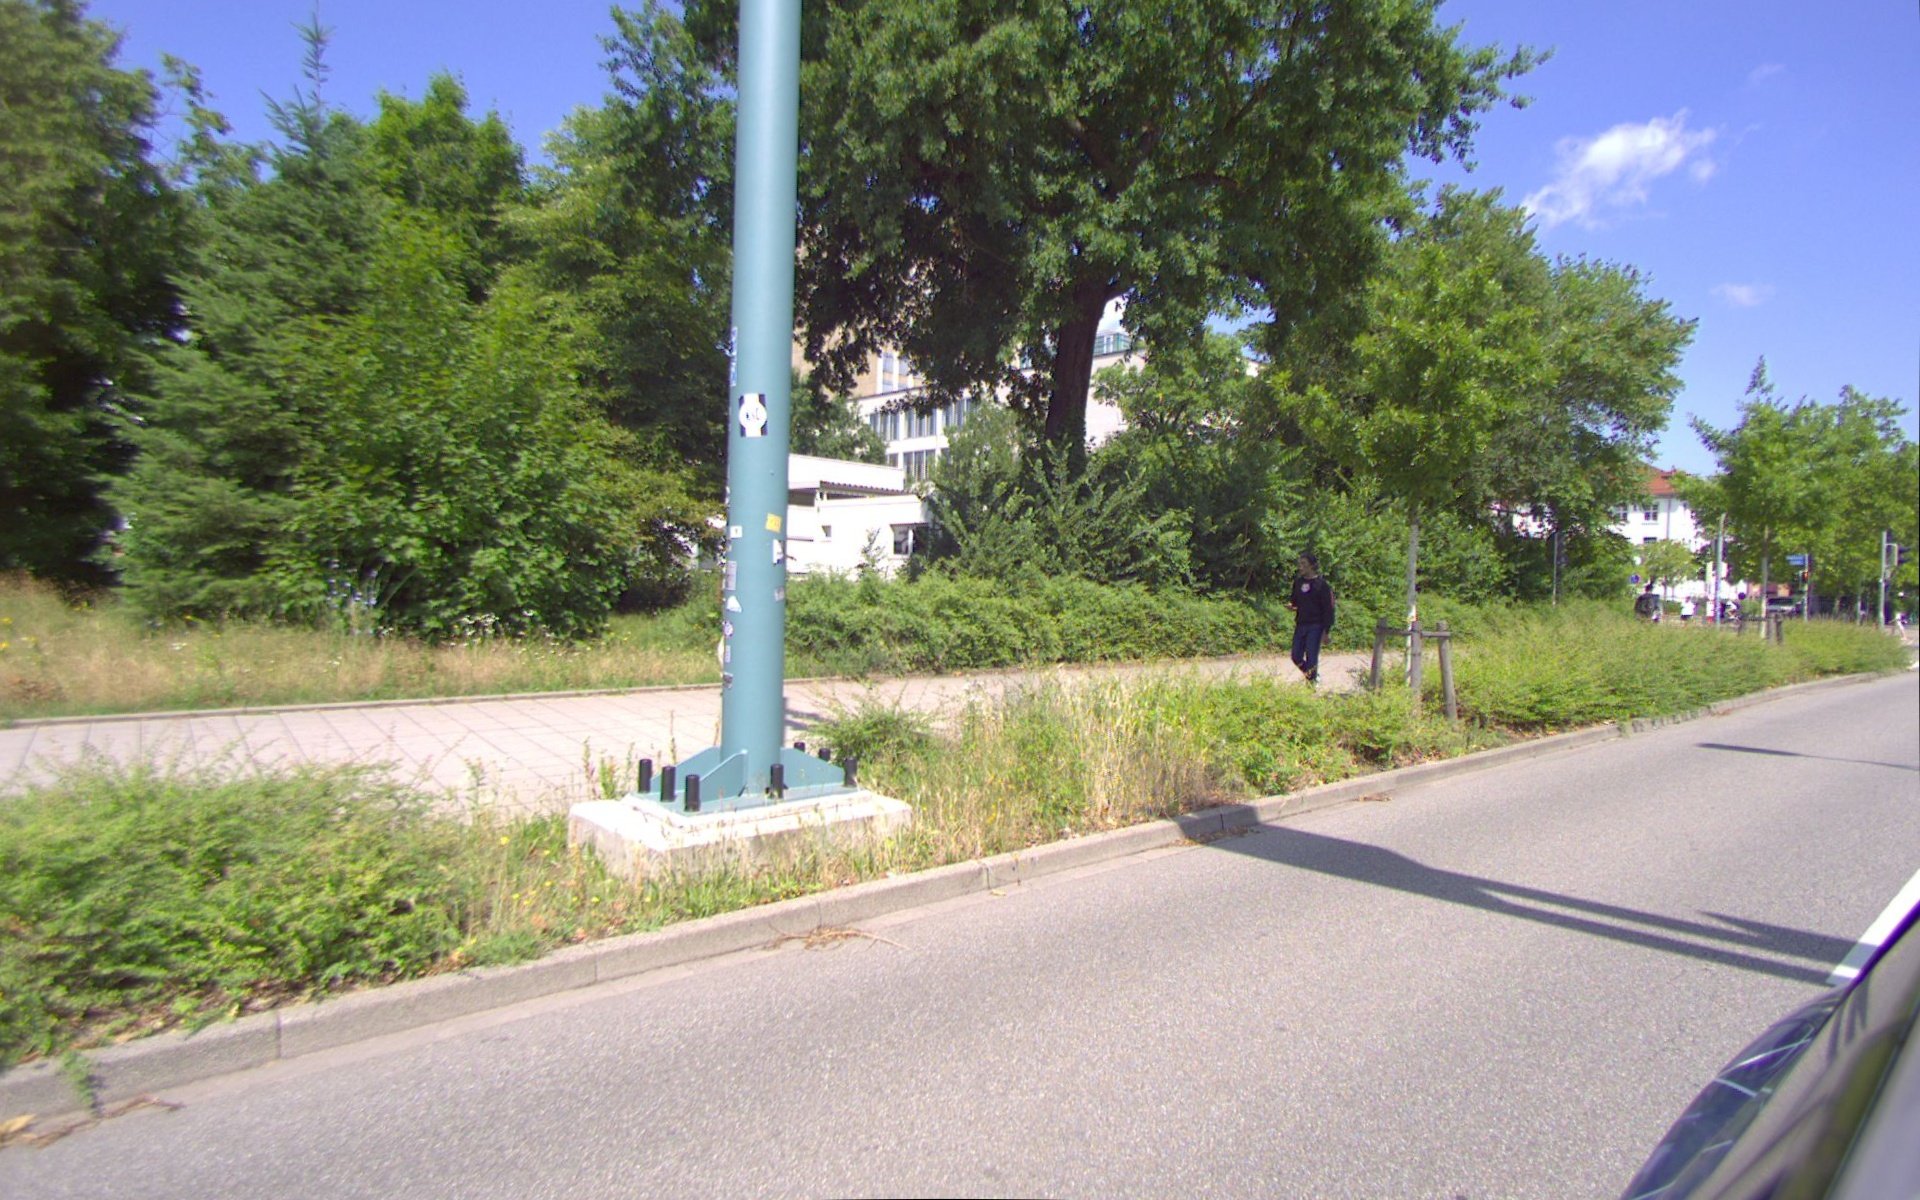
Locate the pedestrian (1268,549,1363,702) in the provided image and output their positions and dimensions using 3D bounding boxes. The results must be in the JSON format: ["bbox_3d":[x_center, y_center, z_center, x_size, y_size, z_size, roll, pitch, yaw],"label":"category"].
[{"bbox_3d":[4.245,0.282,12.089,0.822,1.743,0.718,0,1,-39],"label":"pedestrian"}]

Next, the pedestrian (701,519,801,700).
[{"bbox_3d":[-2.129,0.082,10.301,0.733,1.743,0.724,1,1,-39],"label":"pedestrian"}]

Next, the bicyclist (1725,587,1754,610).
[{"bbox_3d":[49.955,-0.114,64.872,0.952,1.462,1.079,1,1,-11],"label":"bicyclist"}]

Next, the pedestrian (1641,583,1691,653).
[{"bbox_3d":[18.098,0.437,25.940,0.913,1.743,0.815,0,1,-39],"label":"pedestrian"}]

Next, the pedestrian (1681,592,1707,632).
[{"bbox_3d":[36.046,0.574,49.714,0.956,1.896,0.876,0,1,-45],"label":"pedestrian"}]

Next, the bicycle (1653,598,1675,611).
[{"bbox_3d":[56.539,0.372,81.251,1.425,0.963,0.346,2,1,44],"label":"bicycle"}]

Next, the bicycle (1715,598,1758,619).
[{"bbox_3d":[49.896,0.551,65.063,0.867,1.267,2.170,1,1,-11],"label":"bicycle"}]

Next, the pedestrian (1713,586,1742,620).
[{"bbox_3d":[45.159,0.164,59.536,0.953,1.950,1.033,1,1,-31],"label":"pedestrian"}]

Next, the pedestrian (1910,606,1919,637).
[{"bbox_3d":[47.304,1.052,49.911,0.586,1.523,0.412,1,1,31],"label":"pedestrian"}]

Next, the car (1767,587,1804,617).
[{"bbox_3d":[60.997,0.129,74.733,1.992,2.080,4.166,2,1,41],"label":"car"}]

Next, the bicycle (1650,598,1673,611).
[{"bbox_3d":[55.787,0.364,80.482,1.425,0.963,0.346,2,1,44],"label":"bicycle"}]
